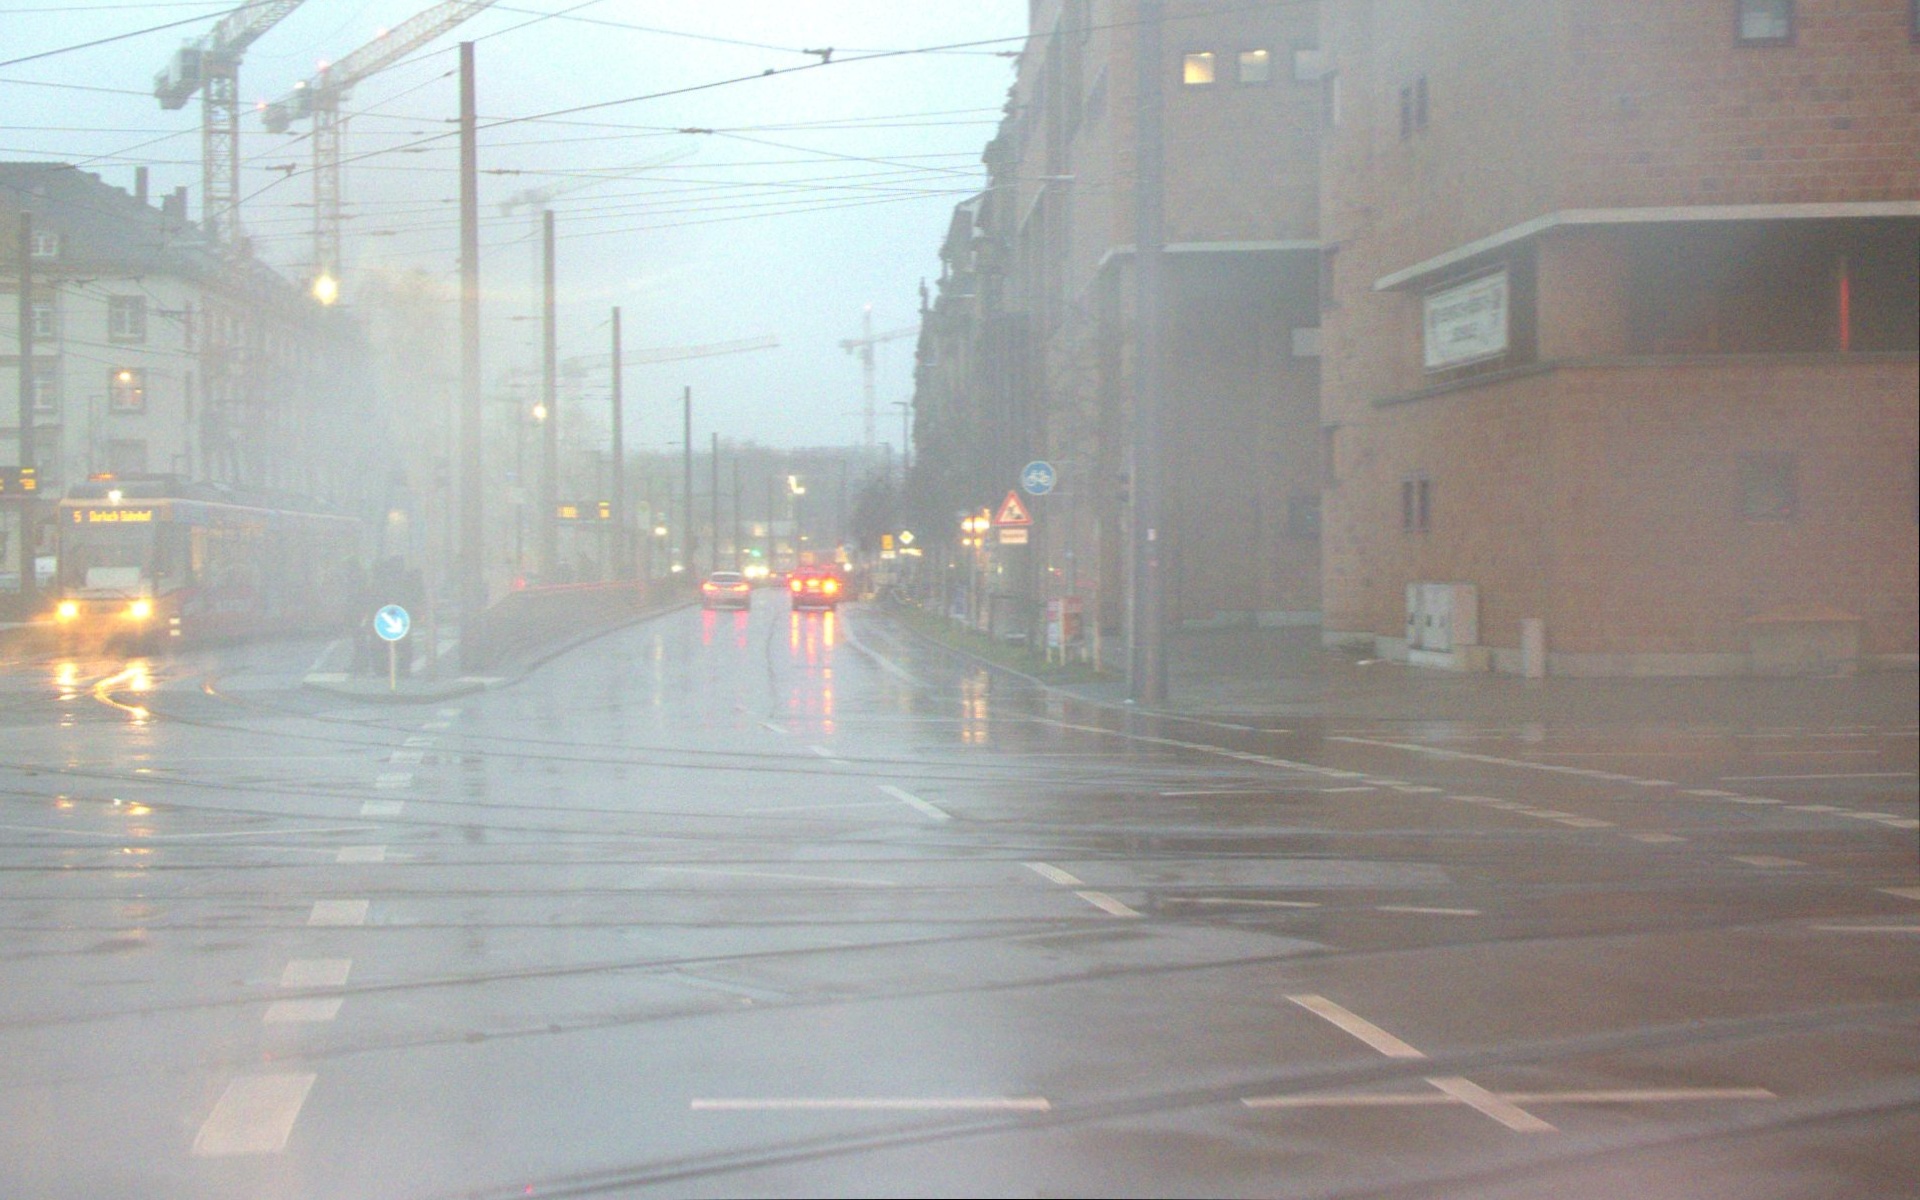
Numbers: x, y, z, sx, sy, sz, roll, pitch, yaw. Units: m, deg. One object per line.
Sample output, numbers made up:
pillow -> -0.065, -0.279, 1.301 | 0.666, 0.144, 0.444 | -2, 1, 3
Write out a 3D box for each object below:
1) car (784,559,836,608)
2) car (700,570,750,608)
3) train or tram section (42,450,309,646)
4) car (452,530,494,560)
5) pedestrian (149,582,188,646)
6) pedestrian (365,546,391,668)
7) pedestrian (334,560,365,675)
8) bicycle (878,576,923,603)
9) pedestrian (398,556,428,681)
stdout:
car -> -6.179, -0.689, 141.881 | 1.993, 2.007, 4.000 | 0, 1, 0
car -> -9.306, -0.458, 136.173 | 1.784, 1.462, 3.148 | 0, 1, 0
train or tram section -> -15.789, -1.033, 70.246 | 2.950, 3.577, 12.256 | 1, 1, -2
car -> -23.172, -2.617, 163.669 | 1.681, 1.349, 3.546 | 1, 0, -3
pedestrian -> -14.485, 0.260, 62.921 | 0.580, 1.148, 0.490 | 1, 0, -1
pedestrian -> -8.544, 0.100, 50.497 | 0.359, 1.780, 0.440 | 0, 0, -7
pedestrian -> -9.265, 0.261, 52.200 | 0.433, 1.729, 0.473 | 0, 0, -7
bicycle -> -2.371, -0.417, 136.926 | 1.729, 1.051, 0.371 | -1, 1, -3
pedestrian -> -8.114, 0.268, 50.976 | 0.412, 1.839, 0.670 | 0, 0, -7
